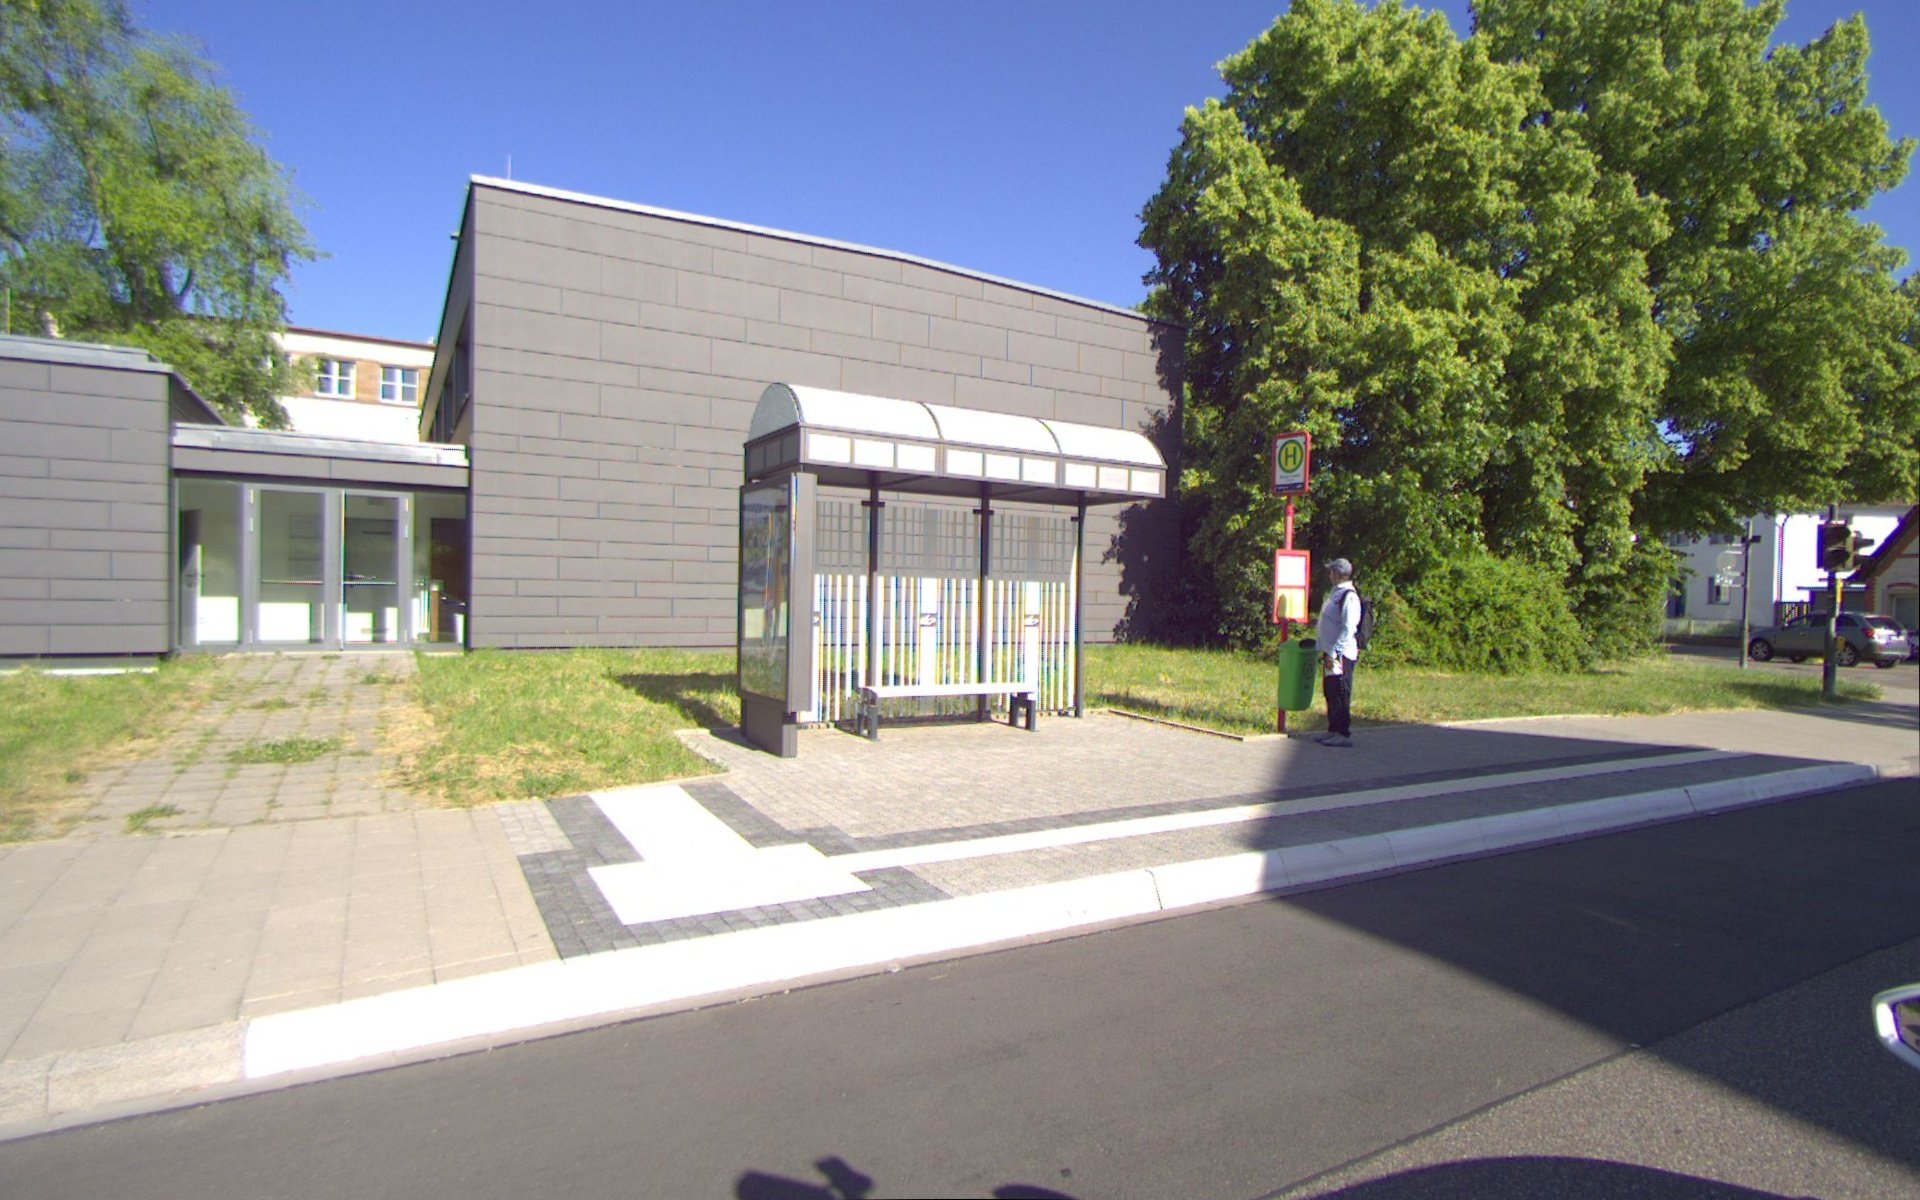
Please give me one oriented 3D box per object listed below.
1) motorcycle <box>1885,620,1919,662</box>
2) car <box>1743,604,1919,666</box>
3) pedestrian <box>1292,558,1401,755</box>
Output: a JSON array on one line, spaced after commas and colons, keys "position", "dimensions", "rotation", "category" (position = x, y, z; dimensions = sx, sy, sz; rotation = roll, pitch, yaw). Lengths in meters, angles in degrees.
[{"position": [31.994, 1.358, 33.011], "dimensions": [0.867, 1.313, 2.245], "rotation": [-2, 0, -10], "category": "motorcycle"}, {"position": [28.336, 1.083, 32.645], "dimensions": [1.913, 1.748, 4.221], "rotation": [3, 0, -15], "category": "car"}, {"position": [3.732, 0.514, 9.757], "dimensions": [0.755, 1.827, 0.718], "rotation": [2, 3, 6], "category": "pedestrian"}]
